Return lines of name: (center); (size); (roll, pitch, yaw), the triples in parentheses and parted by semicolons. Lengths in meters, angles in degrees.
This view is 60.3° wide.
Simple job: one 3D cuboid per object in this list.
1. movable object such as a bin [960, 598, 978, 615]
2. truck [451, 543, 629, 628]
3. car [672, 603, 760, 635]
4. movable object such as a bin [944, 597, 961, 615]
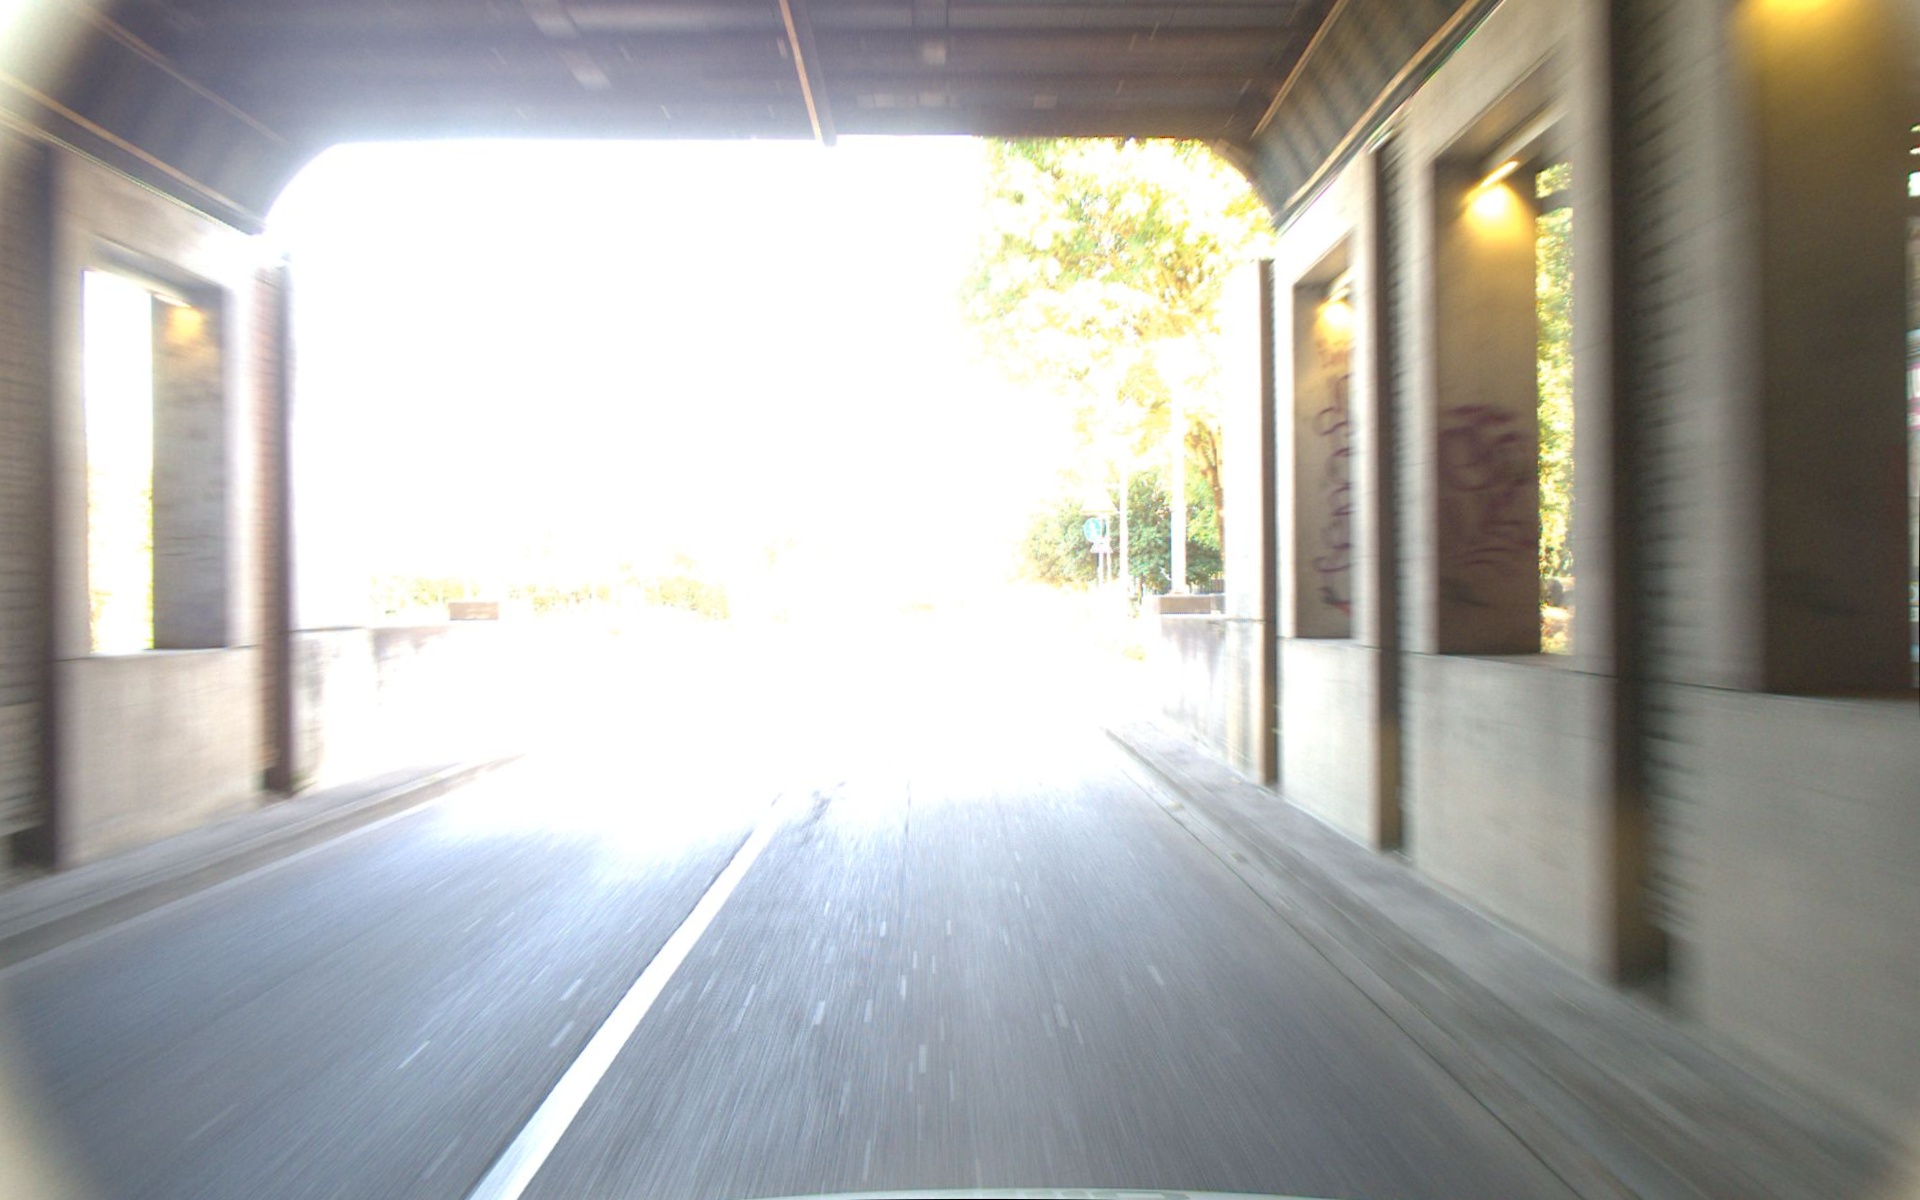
movable object such as a bin: (0.763, 0.550, 137.585); (1.339, 1.443, 1.064); (1, -1, -8)
truck: (-20.817, -0.620, 81.699); (9.127, 3.952, 2.707); (-1, -2, 29)
car: (-12.622, 0.976, 85.523); (4.127, 1.516, 1.875); (1, -1, 26)
movable object such as a bin: (-0.625, 0.515, 137.373); (1.339, 1.443, 1.064); (1, -1, -8)
